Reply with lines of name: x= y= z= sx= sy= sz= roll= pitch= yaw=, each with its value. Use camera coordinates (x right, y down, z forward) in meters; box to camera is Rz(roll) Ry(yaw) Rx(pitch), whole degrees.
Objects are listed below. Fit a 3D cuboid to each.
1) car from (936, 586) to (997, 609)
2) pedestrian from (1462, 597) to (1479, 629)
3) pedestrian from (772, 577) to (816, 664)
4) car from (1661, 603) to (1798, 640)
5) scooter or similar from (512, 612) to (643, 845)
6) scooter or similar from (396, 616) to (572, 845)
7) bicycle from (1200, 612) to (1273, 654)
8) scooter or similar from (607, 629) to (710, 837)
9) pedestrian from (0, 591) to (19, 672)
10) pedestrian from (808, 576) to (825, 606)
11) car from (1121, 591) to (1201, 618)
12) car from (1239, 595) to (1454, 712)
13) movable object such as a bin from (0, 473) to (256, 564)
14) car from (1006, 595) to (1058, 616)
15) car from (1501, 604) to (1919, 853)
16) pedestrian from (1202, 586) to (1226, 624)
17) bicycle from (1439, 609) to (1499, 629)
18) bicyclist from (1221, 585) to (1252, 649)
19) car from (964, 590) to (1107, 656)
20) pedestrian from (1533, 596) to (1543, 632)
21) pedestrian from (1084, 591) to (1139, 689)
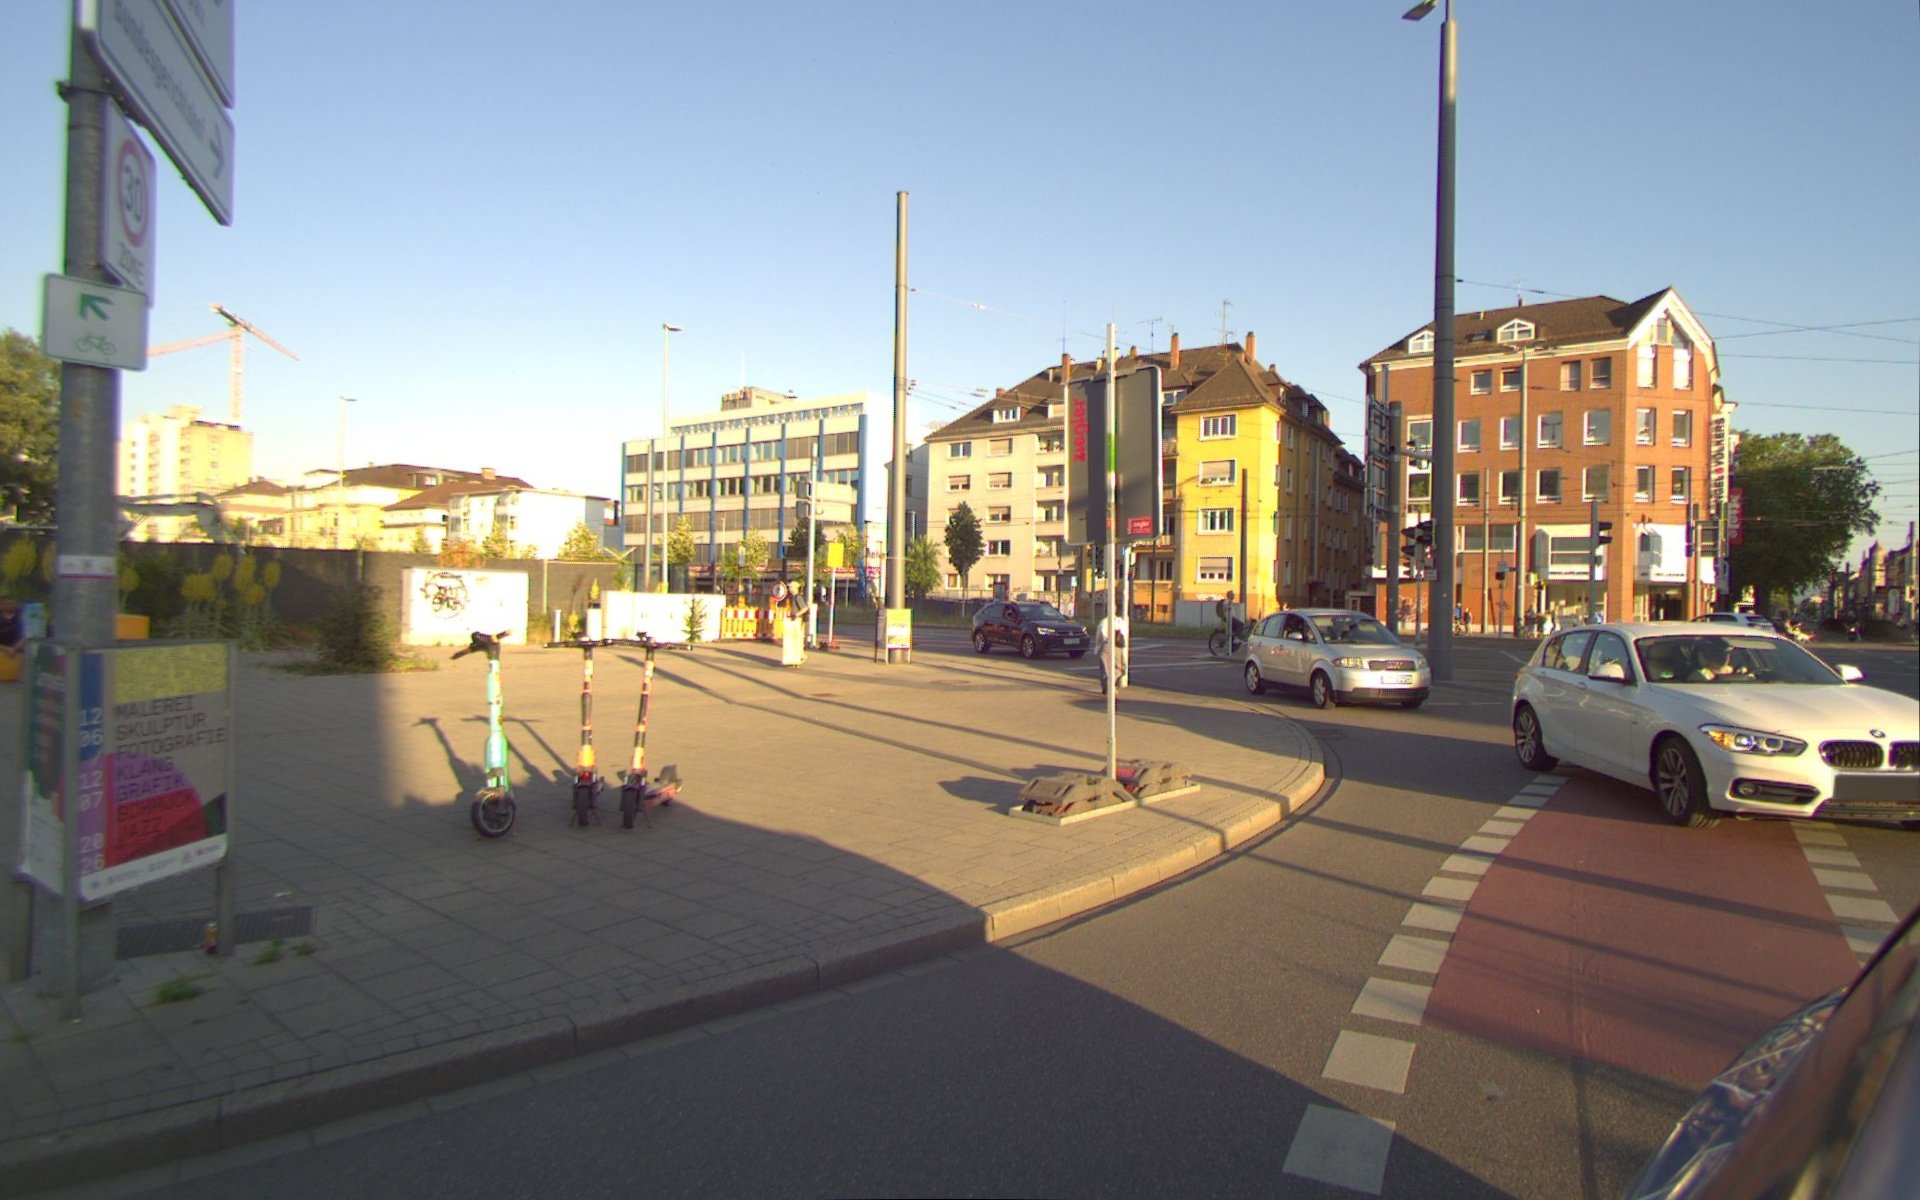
car: x=0.505 y=-0.204 z=79.601 sx=4.320 sy=1.726 sz=2.093 roll=2 pitch=0 yaw=34
pedestrian: x=29.652 y=0.749 z=58.764 sx=0.865 sy=1.800 sz=0.908 roll=1 pitch=0 yaw=29
pedestrian: x=-3.429 y=0.409 z=21.025 sx=0.805 sy=1.757 sz=0.945 roll=1 pitch=0 yaw=-6
car: x=33.959 y=0.916 z=44.812 sx=1.778 sy=1.467 sz=4.573 roll=1 pitch=1 yaw=-20
scooter or similar: x=-2.464 y=0.748 z=6.664 sx=0.452 sy=1.309 sz=1.655 roll=1 pitch=0 yaw=-9
scooter or similar: x=-3.008 y=0.757 z=6.541 sx=0.599 sy=1.276 sz=1.529 roll=1 pitch=0 yaw=-9
bicycle: x=7.412 y=0.878 z=27.139 sx=1.825 sy=1.036 sz=0.592 roll=2 pitch=0 yaw=21
scooter or similar: x=-1.979 y=0.821 z=6.764 sx=0.452 sy=1.181 sz=1.407 roll=1 pitch=0 yaw=-9
pedestrian: x=-14.479 y=0.457 z=14.971 sx=0.986 sy=1.172 sz=0.724 roll=1 pitch=0 yaw=42
pedestrian: x=-7.860 y=-0.490 z=55.494 sx=0.687 sy=1.611 sz=0.557 roll=2 pitch=0 yaw=39
car: x=12.800 y=0.264 z=64.629 sx=4.662 sy=1.522 sz=1.897 roll=2 pitch=1 yaw=30
car: x=6.134 y=0.760 z=16.541 sx=1.646 sy=1.580 sz=3.733 roll=-1 pitch=1 yaw=-9
movable object such as a bin: x=-21.718 y=-2.063 z=26.614 sx=4.919 sy=2.039 sz=2.004 roll=1 pitch=0 yaw=-24
car: x=5.450 y=0.385 z=76.218 sx=3.519 sy=1.438 sz=1.718 roll=2 pitch=0 yaw=34
car: x=6.247 y=0.799 z=8.317 sx=1.885 sy=1.423 sz=4.293 roll=1 pitch=1 yaw=10
pedestrian: x=10.504 y=0.202 z=41.903 sx=0.694 sy=1.560 sz=0.636 roll=1 pitch=0 yaw=-37
bicycle: x=29.147 y=1.099 z=58.001 sx=3.038 sy=1.030 sz=0.922 roll=2 pitch=0 yaw=30
bicyclist: x=7.417 y=0.440 z=27.138 sx=0.739 sy=1.692 sz=0.592 roll=0 pitch=0 yaw=21
car: x=1.994 y=0.571 z=28.189 sx=1.905 sy=1.637 sz=4.398 roll=1 pitch=1 yaw=-28
pedestrian: x=27.697 y=0.673 z=48.491 sx=0.416 sy=1.729 sz=0.510 roll=1 pitch=0 yaw=31
pedestrian: x=2.600 y=0.675 z=17.403 sx=0.688 sy=1.634 sz=0.587 roll=1 pitch=0 yaw=44
